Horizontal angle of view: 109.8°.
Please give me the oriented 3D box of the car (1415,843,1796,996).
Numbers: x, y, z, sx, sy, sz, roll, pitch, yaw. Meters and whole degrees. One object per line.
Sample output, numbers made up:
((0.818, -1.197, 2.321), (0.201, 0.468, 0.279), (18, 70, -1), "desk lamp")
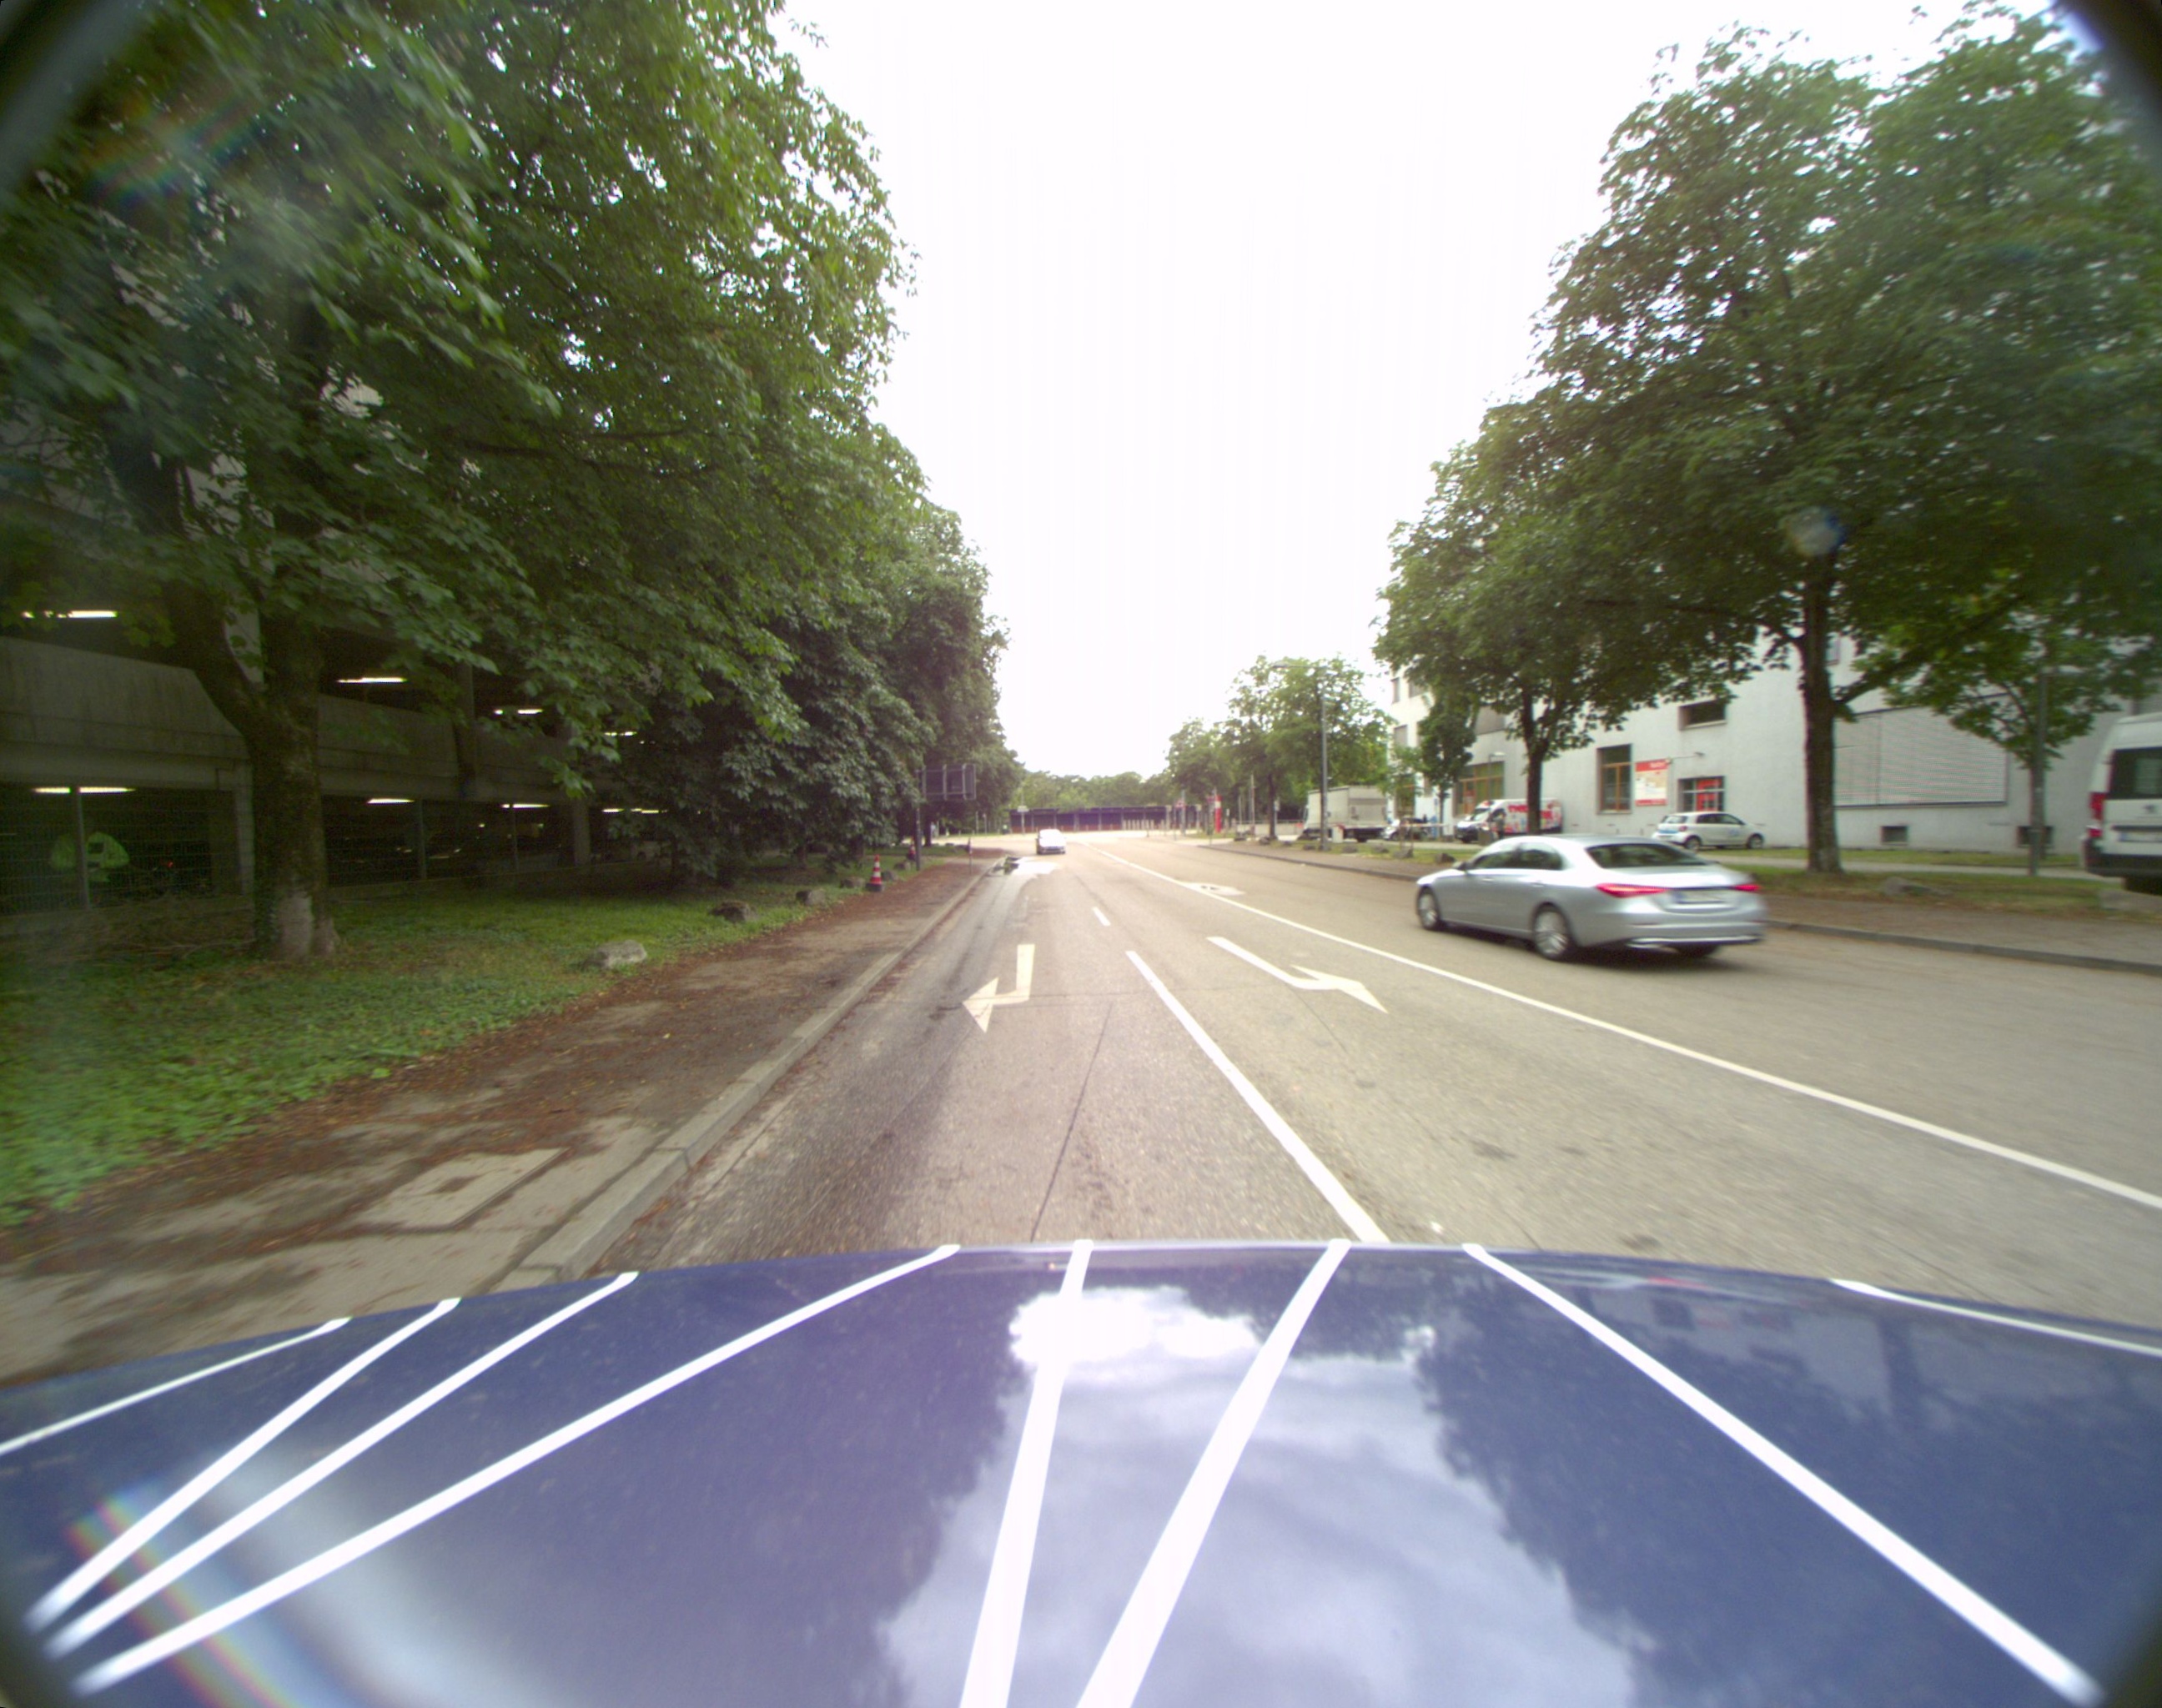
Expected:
((6.029, 0.604, 9.535), (1.702, 1.390, 4.368), (-1, 2, -1), "car")

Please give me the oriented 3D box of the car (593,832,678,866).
((-19.139, -0.258, 32.849), (1.522, 1.319, 3.773), (-1, 2, -3), "car")

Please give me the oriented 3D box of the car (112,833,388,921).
((-18.863, 0.421, 17.595), (1.999, 1.718, 3.997), (-3, 2, -3), "car")

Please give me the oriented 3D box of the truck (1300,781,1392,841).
((17.368, -2.749, 50.425), (2.649, 3.596, 7.832), (0, 2, -6), "truck")

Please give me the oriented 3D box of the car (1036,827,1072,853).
((-1.755, -0.911, 48.101), (1.855, 1.471, 4.504), (-2, 3, -7), "car")

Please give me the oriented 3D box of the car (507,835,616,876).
((-19.034, 0.001, 28.055), (1.522, 1.357, 3.773), (-1, 2, -3), "car")

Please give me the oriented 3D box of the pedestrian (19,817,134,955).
((-12.822, 0.383, 9.717), (0.618, 1.691, 0.609), (3, 3, -4), "pedestrian")

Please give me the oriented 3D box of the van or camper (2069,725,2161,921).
((15.952, -0.387, 9.328), (5.184, 2.410, 2.155), (0, 2, -5), "van or camper")

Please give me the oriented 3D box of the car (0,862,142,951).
((-18.317, 0.903, 12.306), (1.522, 1.357, 3.773), (-1, 2, -3), "car")

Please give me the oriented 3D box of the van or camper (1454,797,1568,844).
((24.152, -1.887, 42.804), (5.267, 2.413, 2.256), (-2, 2, -5), "van or camper")

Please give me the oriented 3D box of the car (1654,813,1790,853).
((25.344, -0.839, 30.126), (4.010, 1.411, 1.713), (-2, 2, -3), "car")

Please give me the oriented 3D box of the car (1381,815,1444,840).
((23.382, -1.868, 53.633), (3.699, 1.638, 1.654), (-1, 2, 0), "car")
